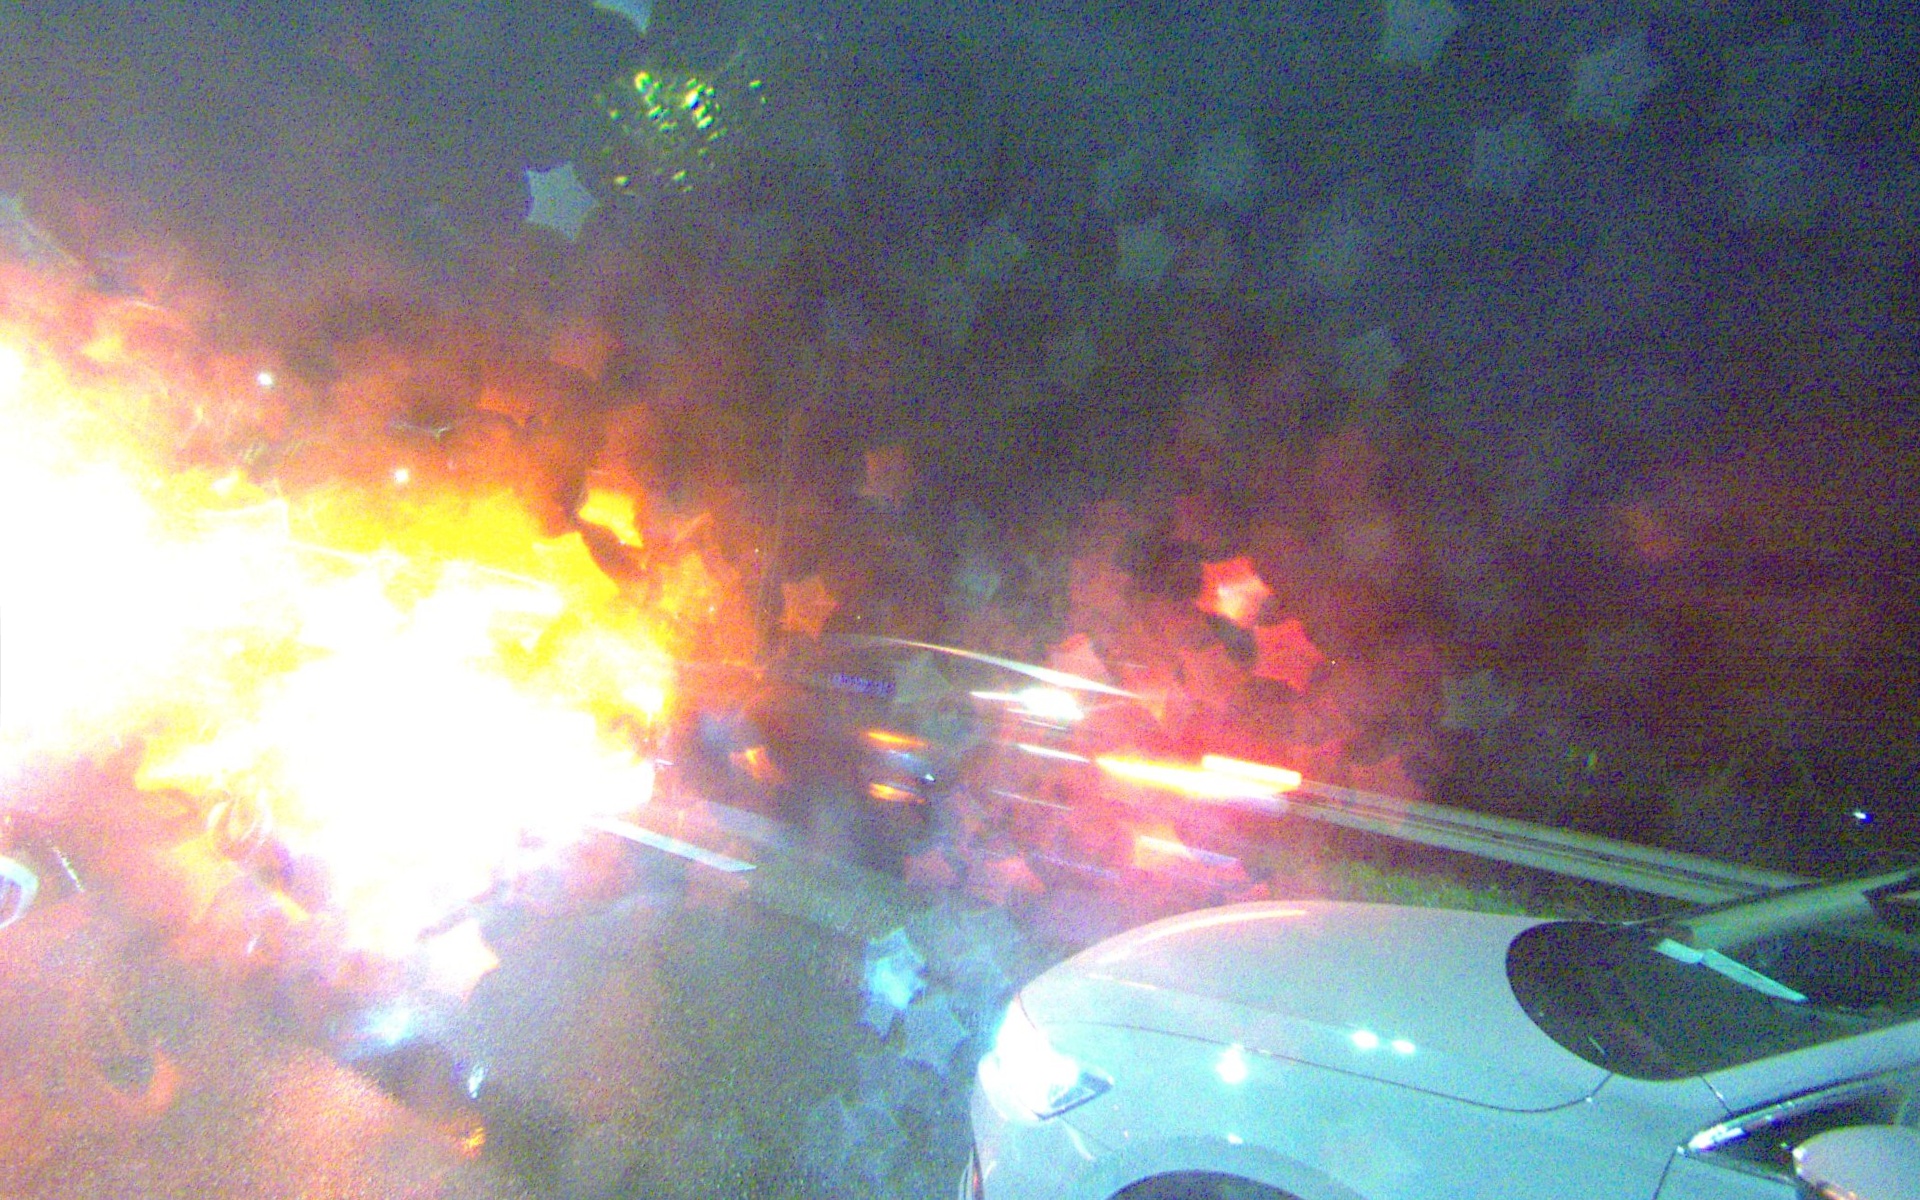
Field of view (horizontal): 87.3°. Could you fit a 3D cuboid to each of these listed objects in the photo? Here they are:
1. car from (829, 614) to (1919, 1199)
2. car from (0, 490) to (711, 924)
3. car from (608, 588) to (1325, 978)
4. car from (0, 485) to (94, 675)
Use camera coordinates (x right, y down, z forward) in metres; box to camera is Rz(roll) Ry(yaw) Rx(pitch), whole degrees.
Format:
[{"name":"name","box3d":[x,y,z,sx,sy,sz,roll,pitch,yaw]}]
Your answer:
[{"name":"car","box3d":[2.049,1.076,1.592,4.342,1.539,1.710,6,-2,32]},{"name":"car","box3d":[-3.730,0.382,5.744,4.484,1.523,1.677,6,-3,32]},{"name":"car","box3d":[-0.030,0.986,6.775,4.266,1.496,2.000,6,-4,31]},{"name":"car","box3d":[-9.714,-0.379,8.958,3.892,1.539,1.681,6,-2,29]}]
